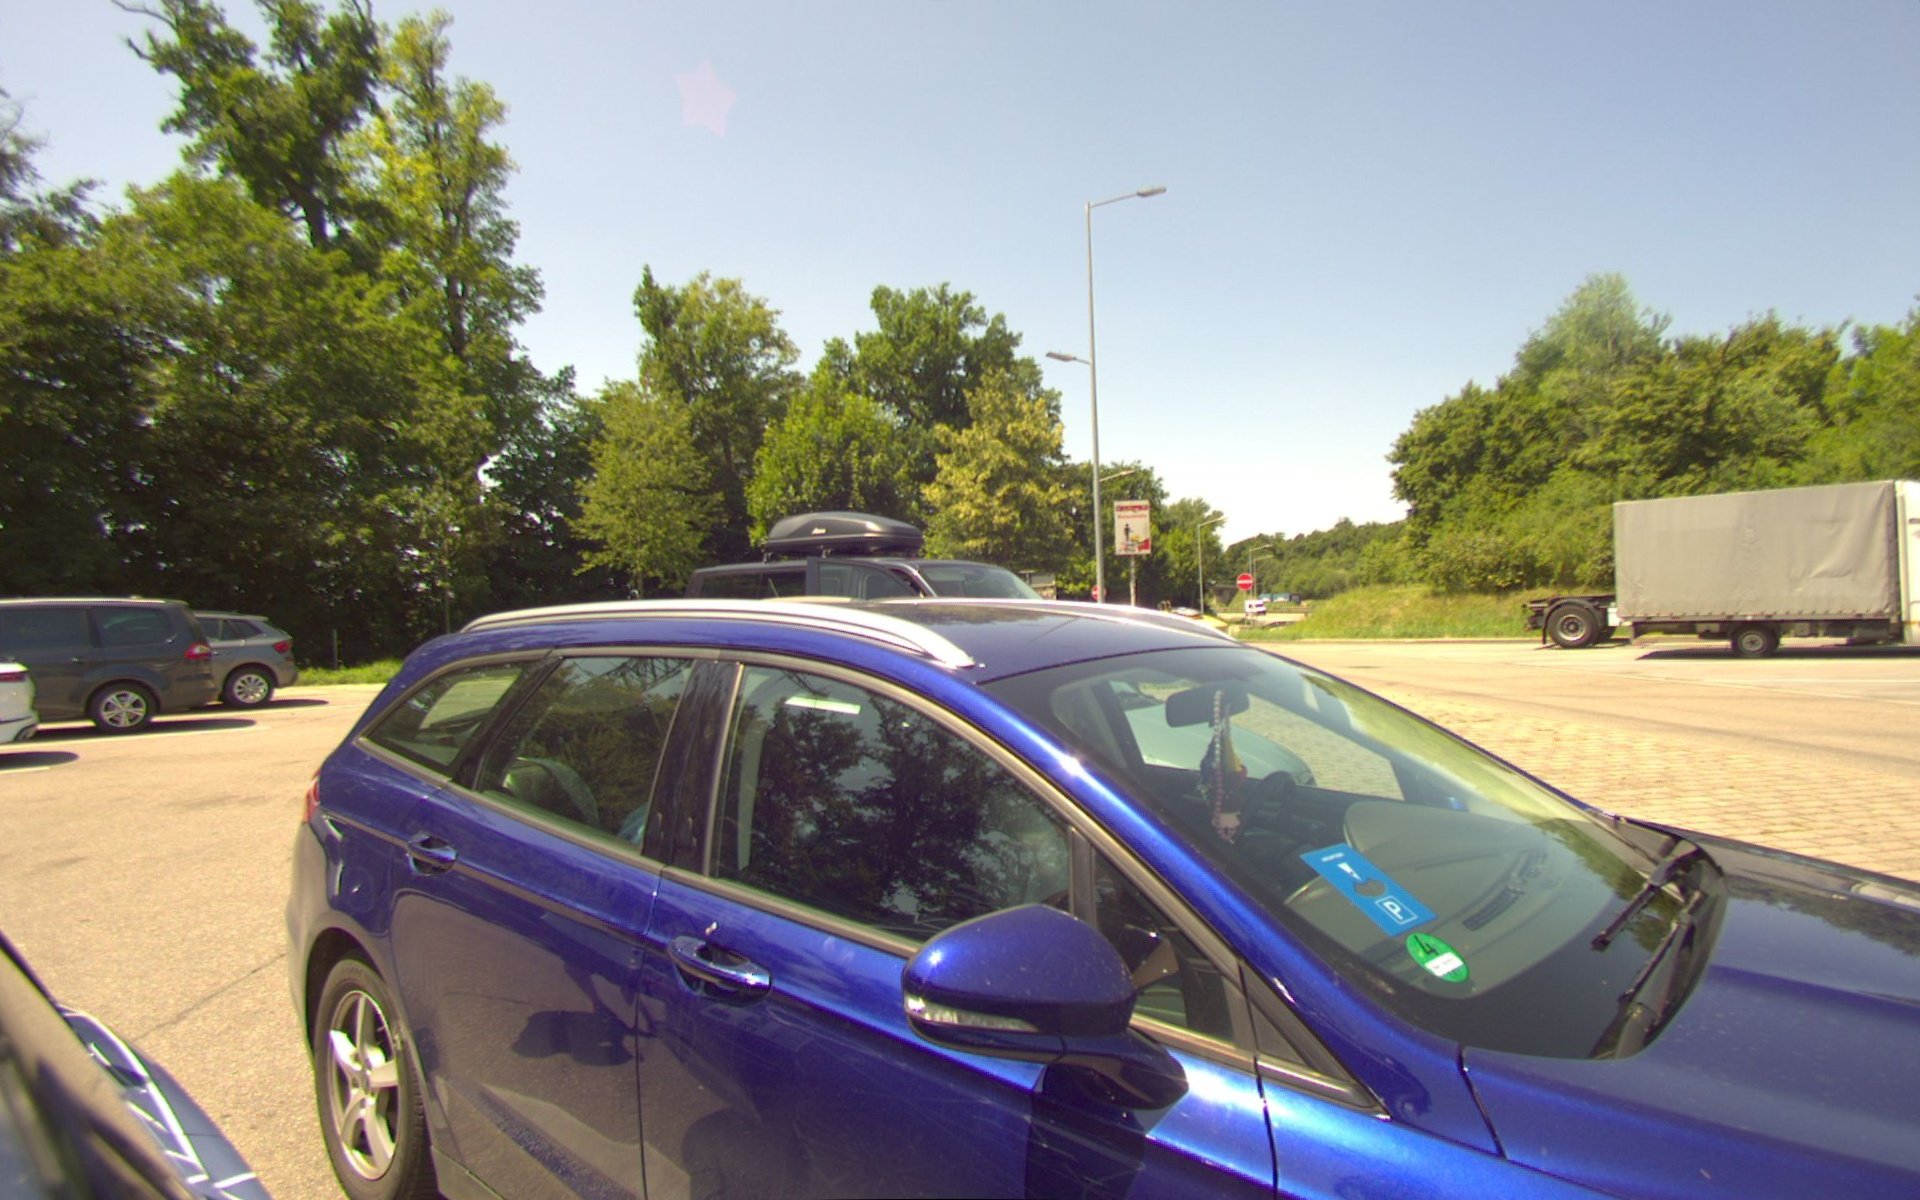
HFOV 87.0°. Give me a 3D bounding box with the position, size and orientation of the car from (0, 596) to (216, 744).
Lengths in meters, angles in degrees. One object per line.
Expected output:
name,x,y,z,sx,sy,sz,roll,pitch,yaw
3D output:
car,-11.646,0.832,12.643,3.762,1.737,1.724,0,-1,-38

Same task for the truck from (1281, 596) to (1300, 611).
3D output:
truck,70.060,0.693,214.606,1.974,3.110,7.521,-1,0,3

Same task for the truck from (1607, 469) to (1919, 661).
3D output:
truck,16.715,-0.629,18.948,7.337,3.235,2.502,-4,-1,41

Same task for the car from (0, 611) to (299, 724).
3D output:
car,-12.584,0.964,15.724,3.762,1.551,1.724,0,-1,-38

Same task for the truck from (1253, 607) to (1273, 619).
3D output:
truck,52.863,2.287,176.602,1.972,2.029,4.519,-2,-1,0

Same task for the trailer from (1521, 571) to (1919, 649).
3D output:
trailer,17.645,0.280,23.170,8.088,1.385,2.200,-4,-1,41

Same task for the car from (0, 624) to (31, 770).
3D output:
car,-10.988,0.943,9.179,3.767,1.396,1.722,0,-1,-43

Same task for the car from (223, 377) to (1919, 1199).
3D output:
car,0.254,0.635,2.092,4.637,1.493,1.720,-3,-1,39

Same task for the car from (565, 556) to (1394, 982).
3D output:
car,-0.208,0.671,5.804,4.637,1.545,1.720,-3,0,39

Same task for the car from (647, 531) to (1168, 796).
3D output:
car,-0.651,0.508,9.377,4.635,1.884,1.937,-3,0,37
